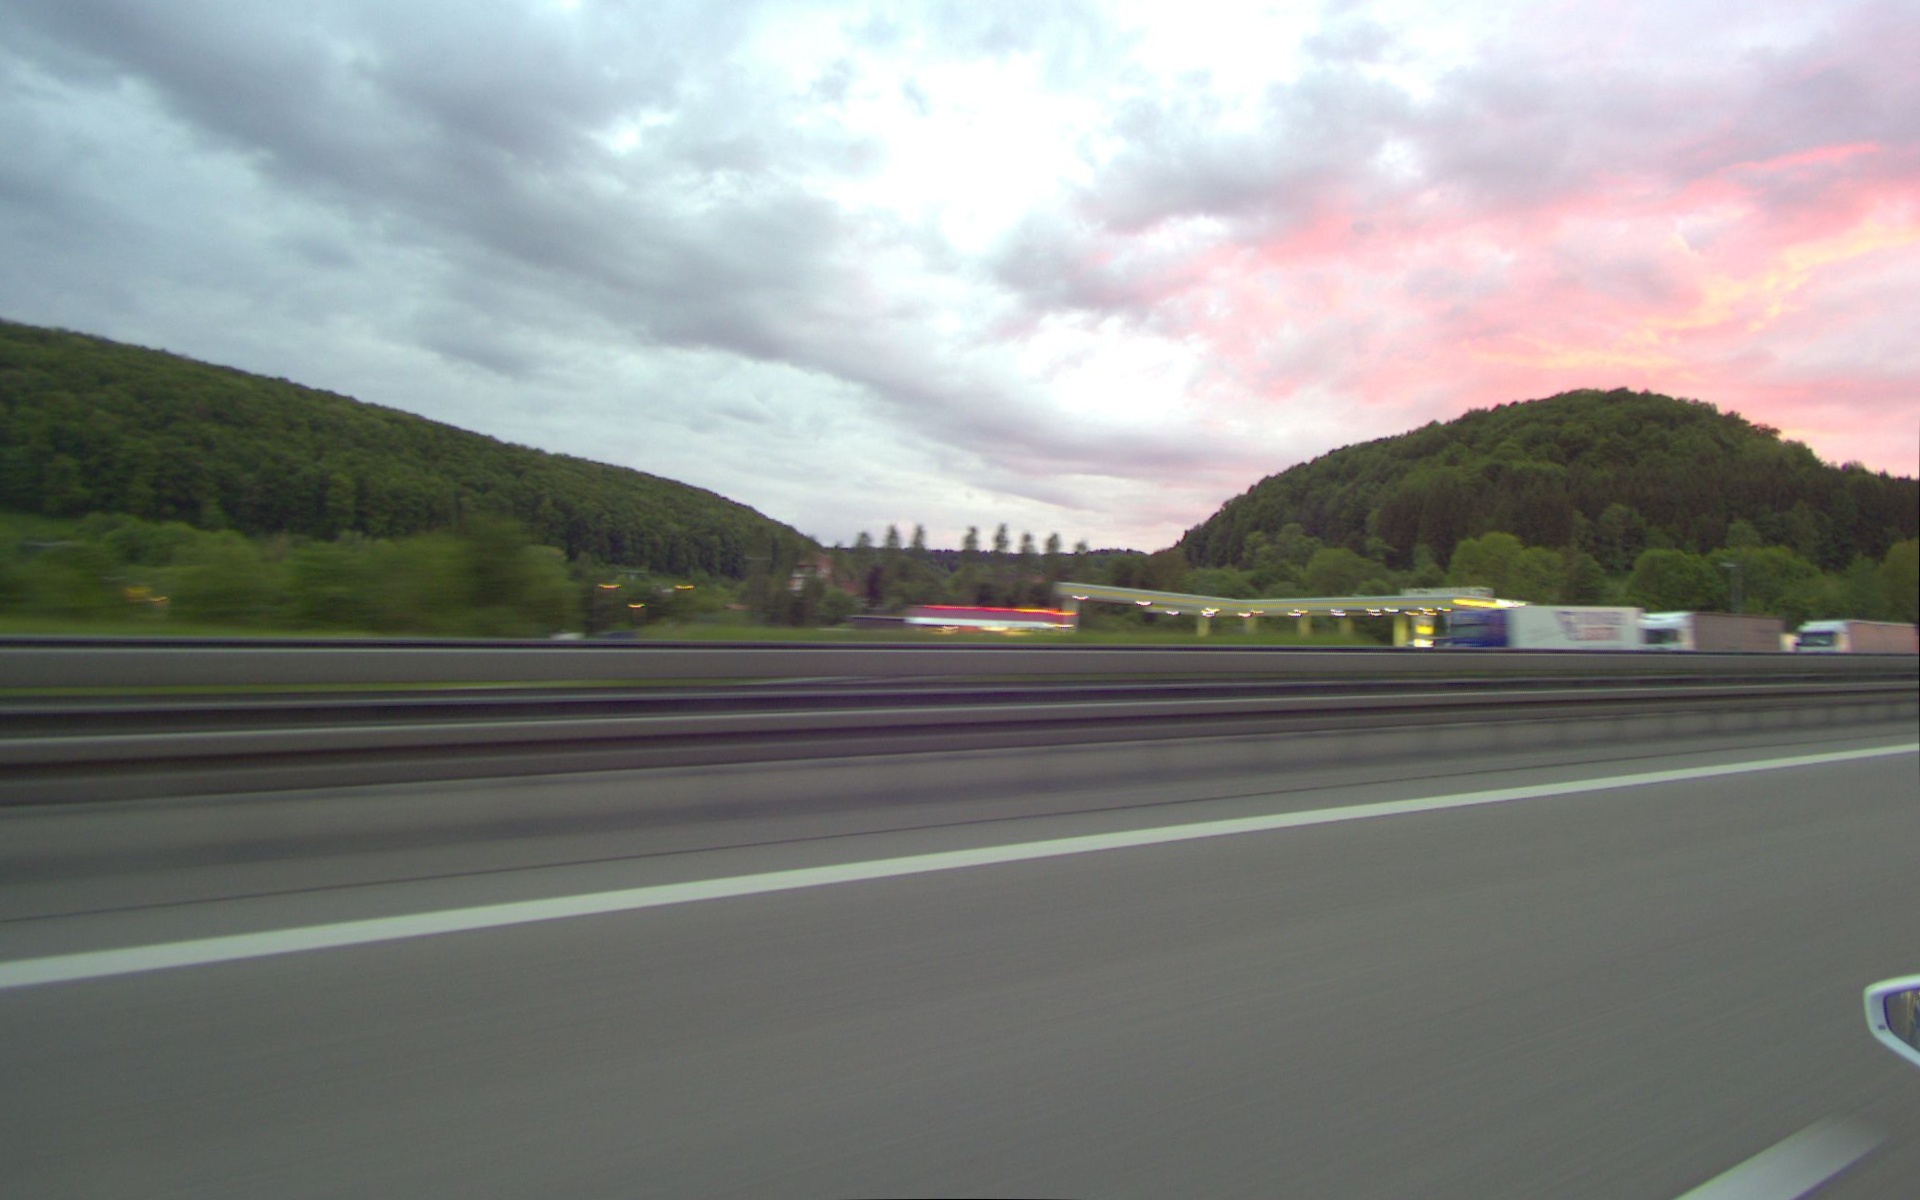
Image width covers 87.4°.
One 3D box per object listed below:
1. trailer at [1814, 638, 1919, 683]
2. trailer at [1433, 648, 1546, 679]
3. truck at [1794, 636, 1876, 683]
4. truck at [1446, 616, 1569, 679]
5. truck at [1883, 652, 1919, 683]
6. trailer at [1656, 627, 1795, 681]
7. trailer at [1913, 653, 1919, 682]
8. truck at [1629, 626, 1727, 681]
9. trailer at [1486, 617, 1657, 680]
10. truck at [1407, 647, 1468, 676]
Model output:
[{"bbox_3d":[75.736,5.060,83.437,13.688,3.470,2.860,3,-1,-30],"label":"trailer"},{"bbox_3d":[69.946,8.344,132.991,13.149,3.565,2.943,2,-2,4],"label":"trailer"},{"bbox_3d":[69.700,4.764,79.952,6.646,3.470,2.860,3,-1,-30],"label":"truck"},{"bbox_3d":[31.699,2.759,58.093,7.088,3.420,2.861,3,-1,-29],"label":"truck"},{"bbox_3d":[124.090,8.777,129.461,7.526,3.727,3.014,2,-1,0],"label":"truck"},{"bbox_3d":[54.309,3.870,71.050,13.410,3.470,2.860,3,-1,-30],"label":"trailer"},{"bbox_3d":[130.814,9.000,129.453,13.080,3.727,3.072,2,-1,0],"label":"trailer"},{"bbox_3d":[48.365,3.592,67.623,6.646,3.470,2.860,3,-1,-30],"label":"truck"},{"bbox_3d":[37.578,3.013,61.420,13.065,3.470,2.861,3,-1,-29],"label":"trailer"},{"bbox_3d":[63.346,8.141,133.393,6.578,3.565,2.943,2,-2,4],"label":"truck"}]
